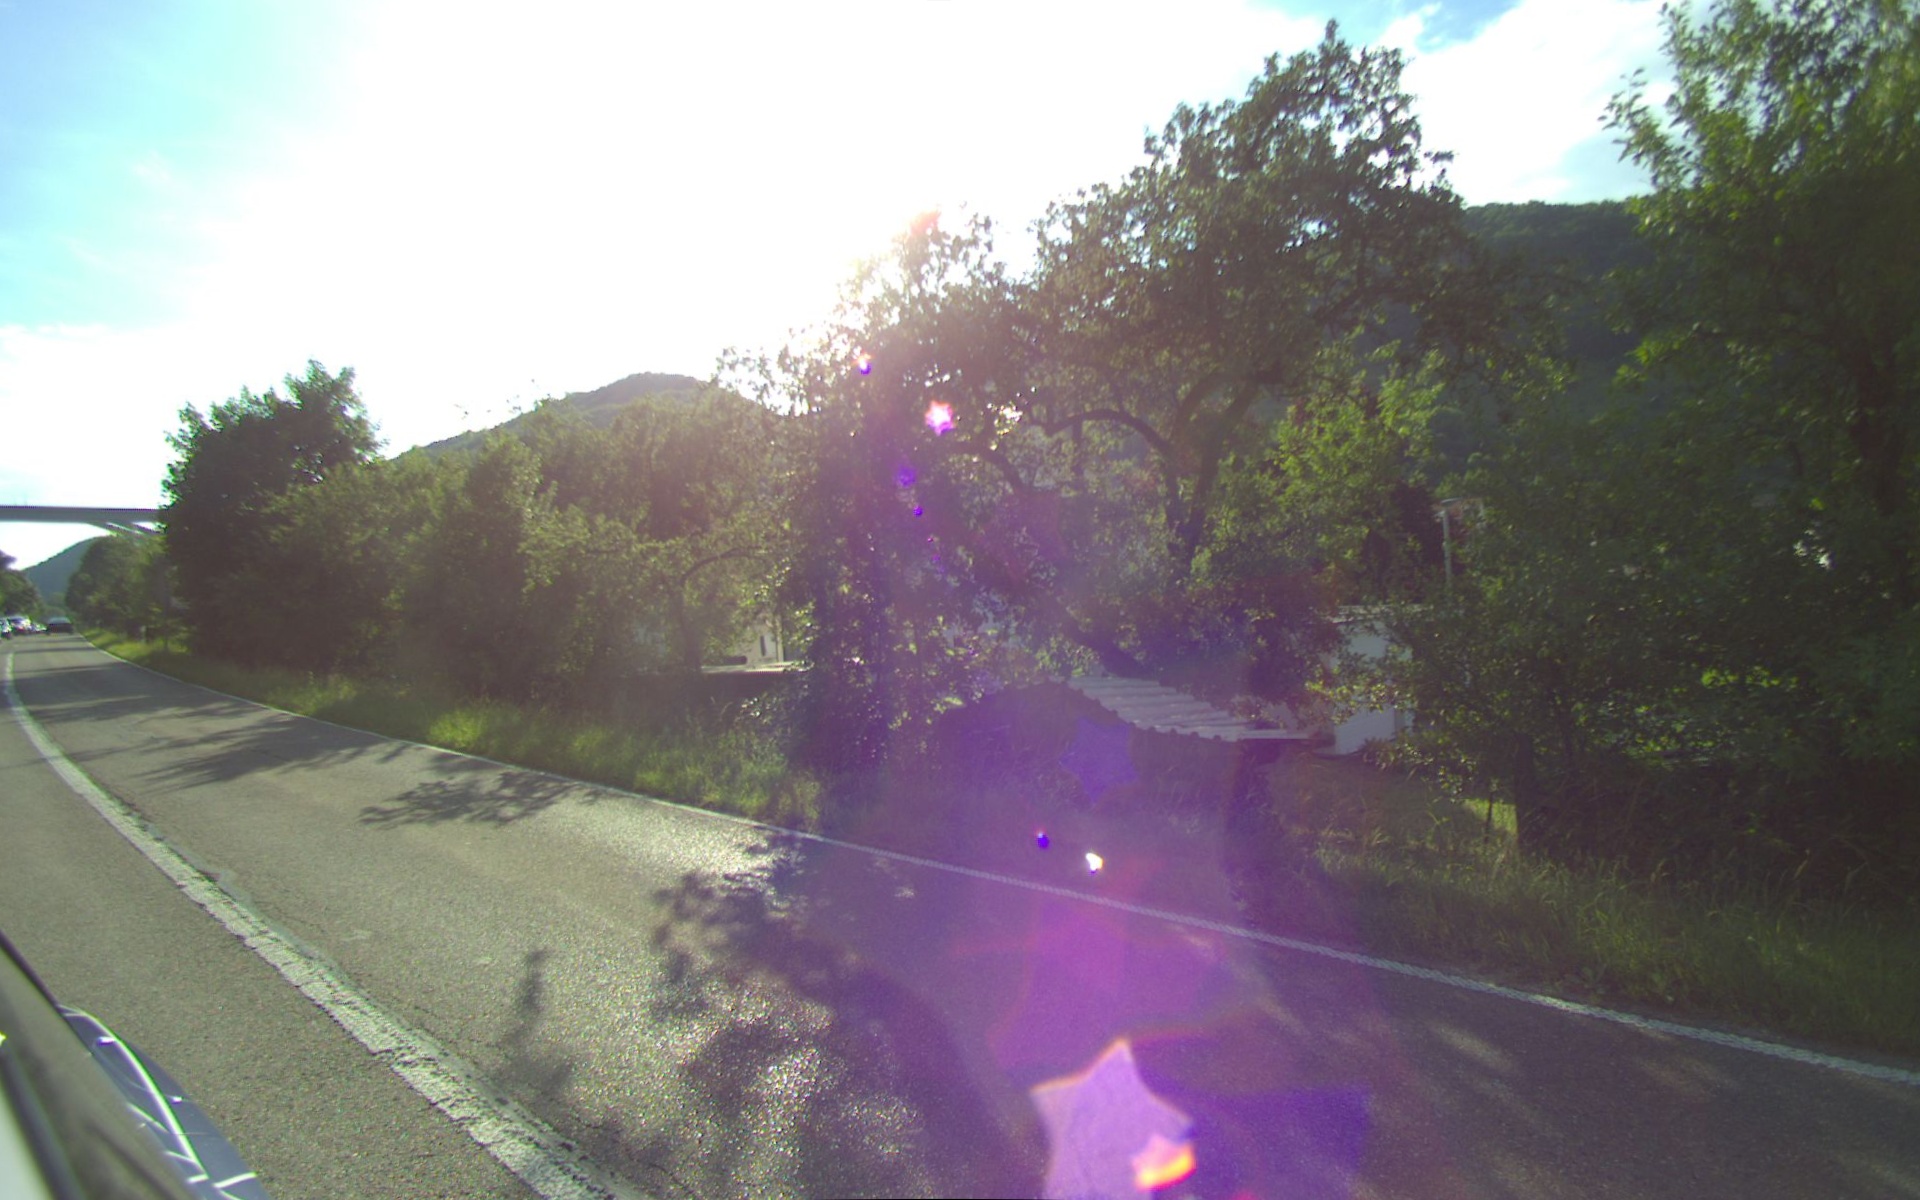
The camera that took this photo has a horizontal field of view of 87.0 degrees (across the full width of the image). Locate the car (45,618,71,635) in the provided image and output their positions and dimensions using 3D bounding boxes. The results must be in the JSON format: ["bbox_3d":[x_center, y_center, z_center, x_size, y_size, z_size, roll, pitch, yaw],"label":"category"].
[{"bbox_3d":[-74.902,2.180,84.032,1.575,1.364,4.208,-1,0,-43],"label":"car"}]

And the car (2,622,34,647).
[{"bbox_3d":[-83.440,3.024,89.628,1.970,2.029,4.003,-1,0,-44],"label":"car"}]
